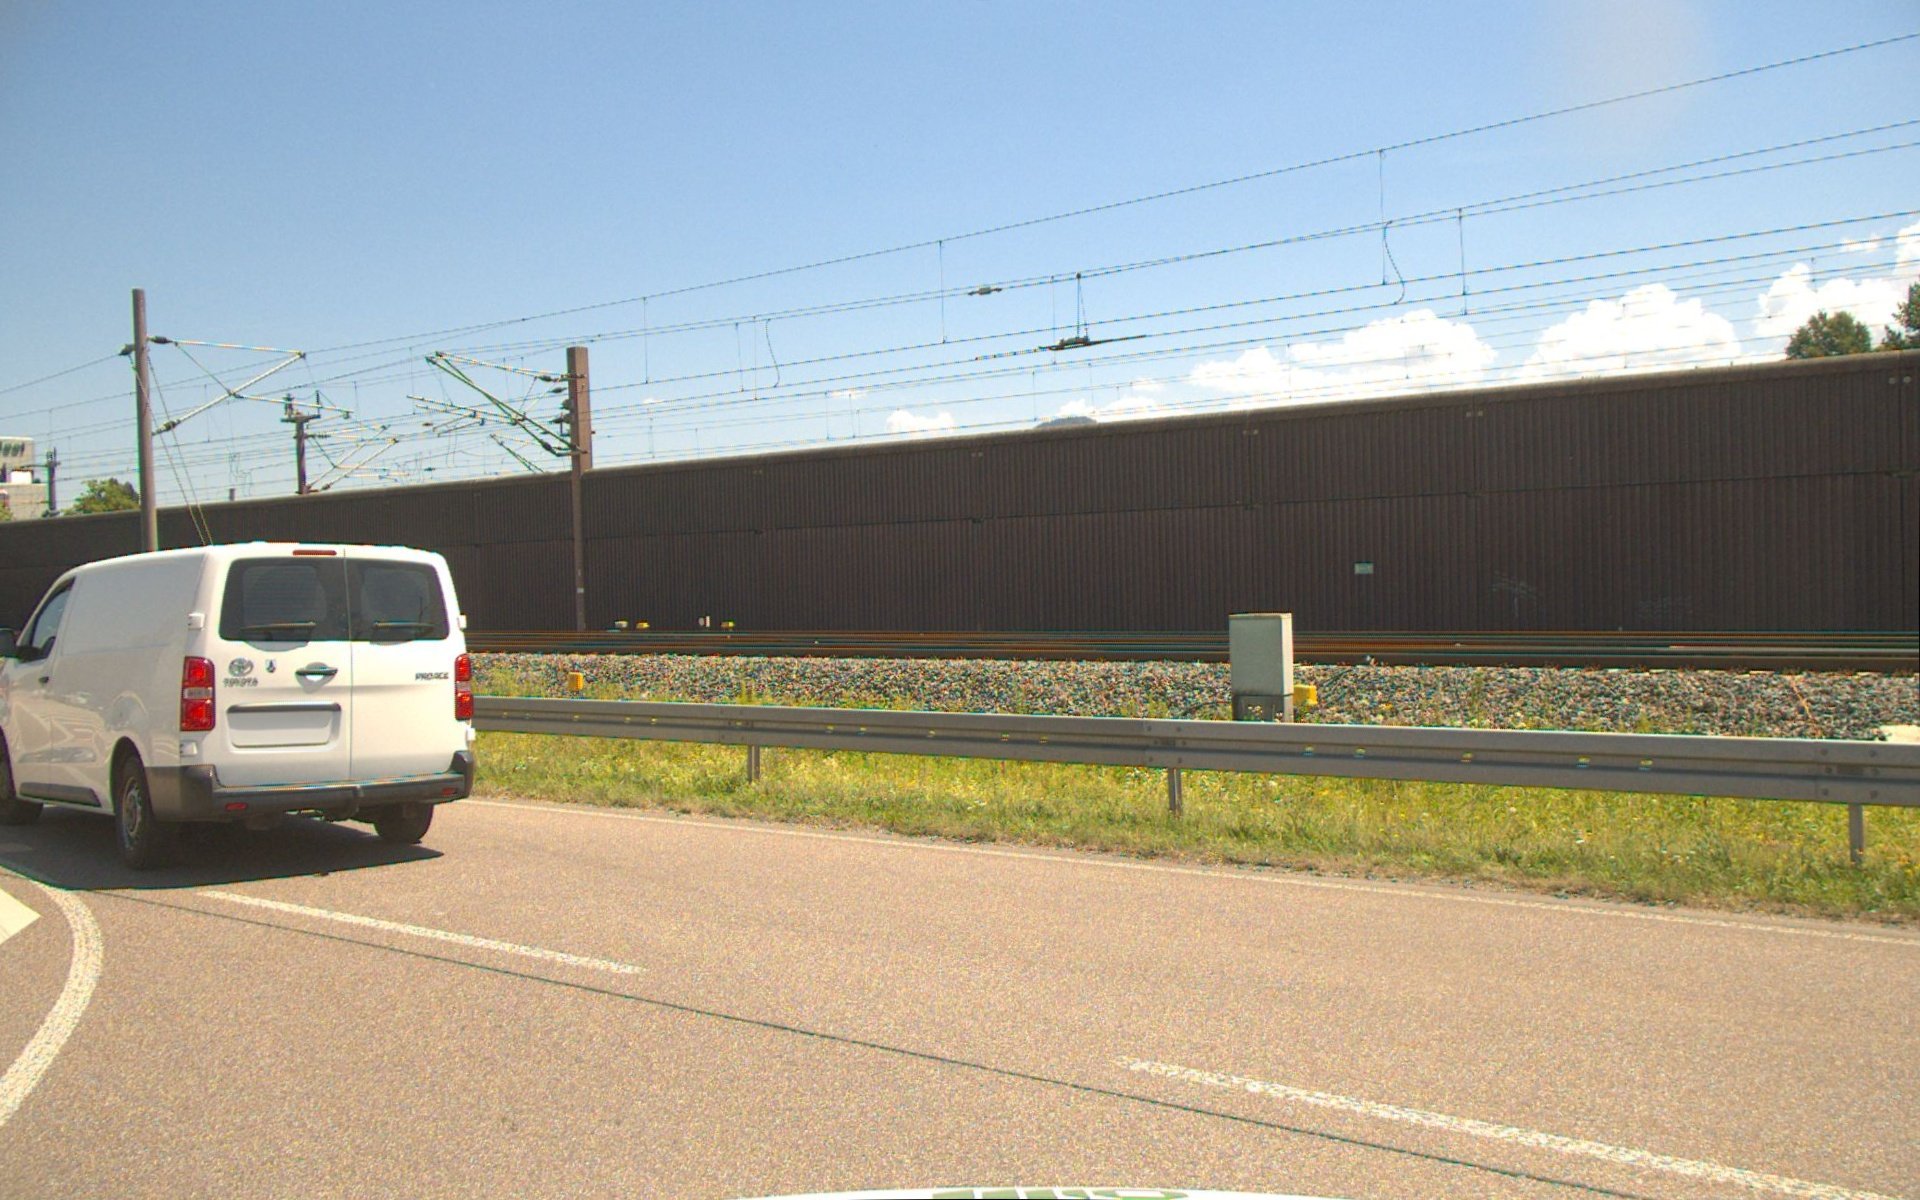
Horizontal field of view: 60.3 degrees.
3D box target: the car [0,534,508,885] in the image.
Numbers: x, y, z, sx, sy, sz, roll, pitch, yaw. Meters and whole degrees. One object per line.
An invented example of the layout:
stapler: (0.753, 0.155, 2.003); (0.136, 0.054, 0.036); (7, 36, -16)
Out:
car: (-5.141, 0.663, 11.482); (1.936, 1.915, 4.805); (0, -2, -42)
